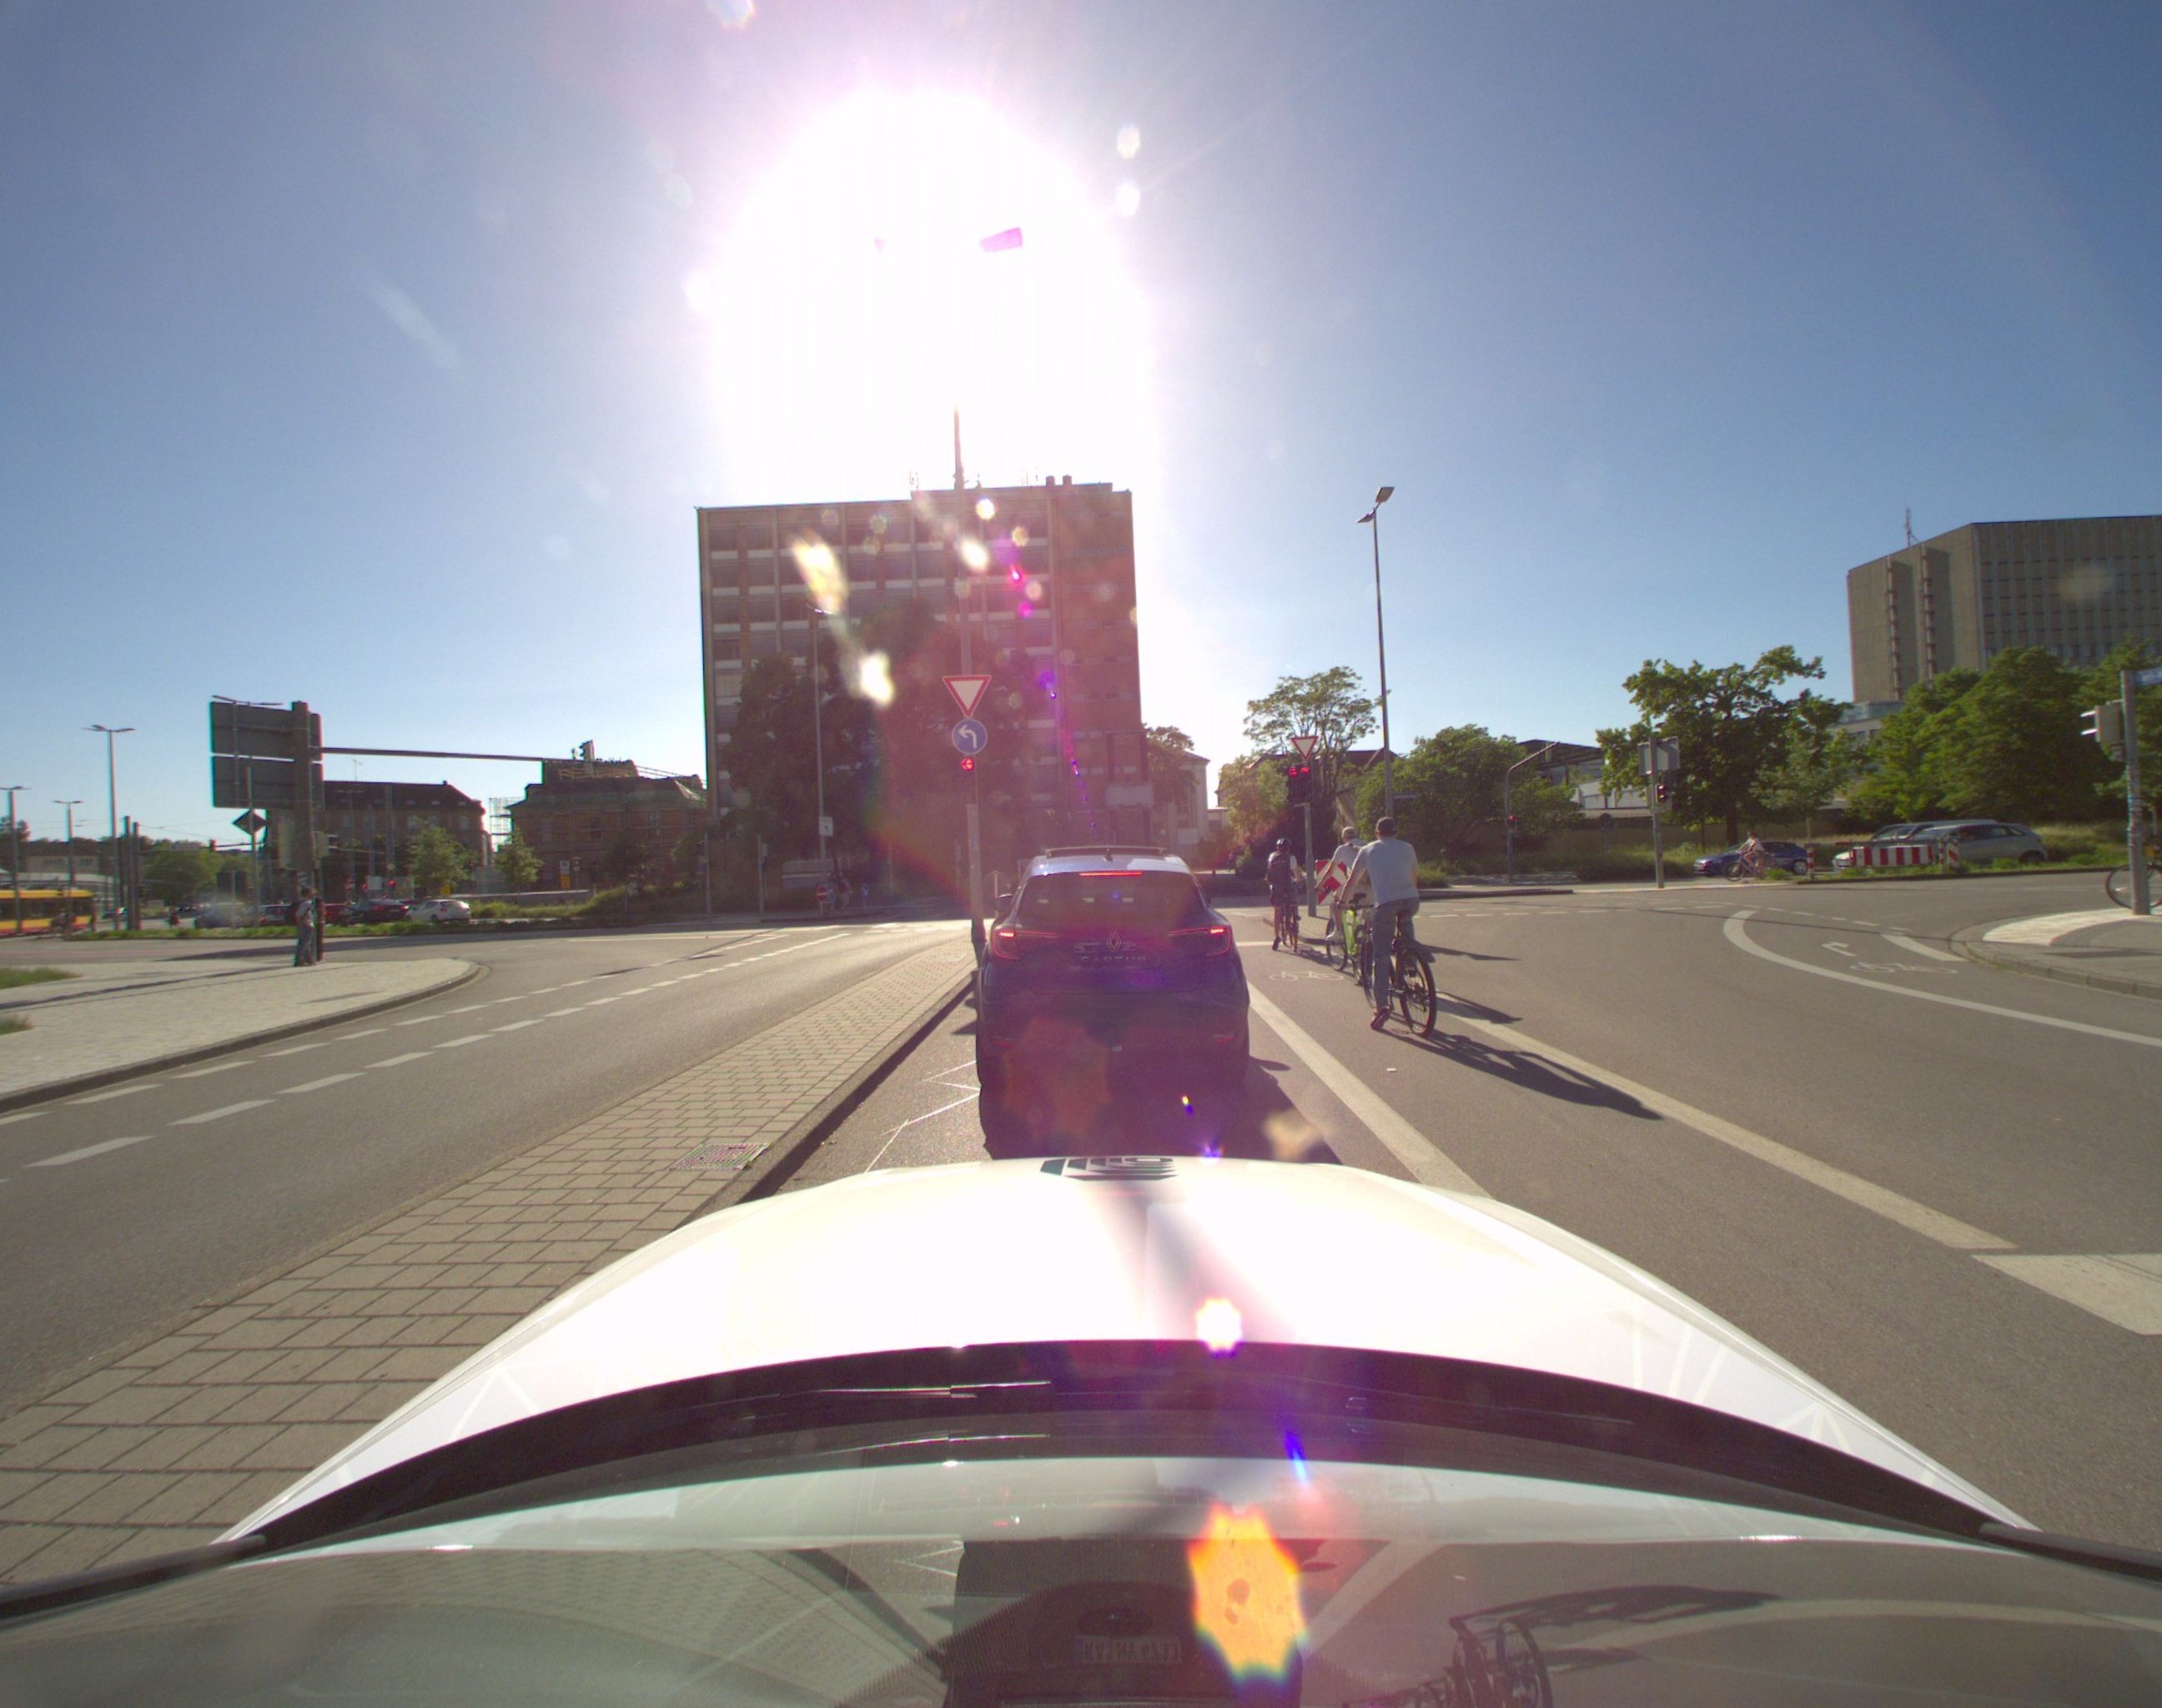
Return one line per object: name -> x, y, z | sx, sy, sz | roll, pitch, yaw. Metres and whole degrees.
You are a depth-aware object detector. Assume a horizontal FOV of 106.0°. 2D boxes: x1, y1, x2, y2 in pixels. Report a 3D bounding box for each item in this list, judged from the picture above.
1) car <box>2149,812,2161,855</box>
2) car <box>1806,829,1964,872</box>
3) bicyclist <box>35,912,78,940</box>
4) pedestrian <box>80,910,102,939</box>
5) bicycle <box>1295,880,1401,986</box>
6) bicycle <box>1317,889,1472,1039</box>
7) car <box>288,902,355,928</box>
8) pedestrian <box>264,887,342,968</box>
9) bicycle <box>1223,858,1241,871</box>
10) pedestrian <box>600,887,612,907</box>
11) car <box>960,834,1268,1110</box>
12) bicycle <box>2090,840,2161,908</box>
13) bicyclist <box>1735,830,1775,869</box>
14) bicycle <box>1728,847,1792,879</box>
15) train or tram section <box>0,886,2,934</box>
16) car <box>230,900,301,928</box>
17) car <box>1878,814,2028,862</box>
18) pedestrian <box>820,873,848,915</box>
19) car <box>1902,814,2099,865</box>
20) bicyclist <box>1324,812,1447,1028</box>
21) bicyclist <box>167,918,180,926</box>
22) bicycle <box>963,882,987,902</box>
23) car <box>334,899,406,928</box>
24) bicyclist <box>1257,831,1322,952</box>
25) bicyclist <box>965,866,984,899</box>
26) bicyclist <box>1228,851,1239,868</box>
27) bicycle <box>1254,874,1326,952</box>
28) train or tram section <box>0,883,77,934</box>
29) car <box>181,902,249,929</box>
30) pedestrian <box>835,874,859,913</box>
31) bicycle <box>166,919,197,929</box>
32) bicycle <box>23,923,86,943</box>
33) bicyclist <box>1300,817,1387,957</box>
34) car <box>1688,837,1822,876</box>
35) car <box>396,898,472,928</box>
car -> 36.901, -0.762, 25.329 | 4.534, 1.398, 1.798 | -3, -1, 7
car -> 30.296, -0.135, 30.791 | 3.965, 1.398, 1.798 | -3, -1, 7
bicyclist -> -66.065, 4.619, 52.530 | 1.584, 1.634, 0.800 | 0, -1, -43
pedestrian -> -62.921, 4.493, 51.751 | 0.697, 1.762, 0.781 | -3, -1, 45
bicycle -> 3.174, 0.891, 9.861 | 0.687, 1.089, 1.923 | -1, 0, 2
bicycle -> 2.725, 0.899, 7.325 | 0.687, 1.089, 1.923 | -1, 0, 2
car -> -48.208, 3.873, 51.704 | 3.834, 1.508, 1.805 | -3, -1, 25
pedestrian -> -17.767, 1.663, 18.621 | 0.647, 1.730, 1.066 | -3, -1, 15
bicycle -> 13.535, 0.933, 72.959 | 0.694, 1.140, 2.432 | -2, 0, -10
pedestrian -> -43.106, 3.908, 73.897 | 0.680, 1.730, 0.759 | -2, -1, -7
car -> 0.198, 0.705, 6.763 | 1.783, 1.585, 3.913 | -1, 0, 0
bicycle -> 15.915, 0.269, 11.624 | 0.640, 0.958, 1.866 | -2, -1, -39
bicyclist -> 24.035, -0.159, 29.049 | 0.870, 1.343, 0.612 | -2, -1, 7
bicycle -> 24.184, 0.321, 29.028 | 1.673, 1.033, 0.612 | -2, -1, 7
train or tram section -> -70.553, 3.682, 49.413 | 2.711, 3.232, 10.490 | 0, -1, -33
car -> -48.865, 3.607, 48.800 | 3.834, 1.508, 1.805 | -3, -1, 25
car -> 35.870, -0.617, 33.606 | 3.965, 1.749, 1.798 | -3, -1, 7
pedestrian -> -11.322, 1.831, 37.329 | 0.807, 1.862, 0.913 | -3, -1, 15
car -> 29.220, -0.433, 25.999 | 3.965, 1.398, 1.798 | -3, -1, 7
bicyclist -> 2.719, 0.554, 7.395 | 0.680, 1.791, 1.142 | -1, -1, 2
bicyclist -> -63.635, 4.760, 57.092 | 0.425, 0.549, 0.575 | -3, -1, 42
bicycle -> -5.728, 2.046, 44.168 | 0.751, 0.985, 2.098 | -2, 0, 8
car -> -42.552, 3.566, 48.735 | 3.834, 1.508, 1.805 | -3, -1, 25
bicyclist -> 3.218, 0.560, 12.658 | 0.697, 1.791, 1.142 | -1, -1, 2
bicyclist -> -5.764, 1.555, 44.068 | 0.751, 1.716, 1.001 | -2, -1, 7
bicyclist -> 13.564, 0.489, 72.566 | 0.695, 1.481, 0.714 | -2, -1, -11
bicycle -> 3.269, 0.890, 12.892 | 0.687, 1.089, 1.923 | -1, 0, 2
train or tram section -> -76.302, 3.796, 58.181 | 2.711, 3.232, 10.490 | 0, -1, -33
car -> -54.915, 3.895, 51.632 | 3.834, 1.508, 1.805 | -3, -1, 25
pedestrian -> -10.579, 1.778, 36.829 | 0.675, 1.730, 0.764 | -3, -1, 15
bicycle -> -63.364, 4.918, 57.377 | 0.429, 0.549, 1.419 | -3, -1, 42
bicycle -> -66.107, 5.080, 52.466 | 2.433, 1.062, 0.800 | 0, -1, -43
bicyclist -> 3.165, 0.379, 9.916 | 0.676, 1.594, 1.142 | -1, -1, 1
car -> 28.134, 0.107, 34.105 | 3.965, 1.398, 1.798 | -3, -1, 7
car -> -36.396, 3.339, 45.831 | 3.834, 1.508, 1.805 | -3, -1, 25
